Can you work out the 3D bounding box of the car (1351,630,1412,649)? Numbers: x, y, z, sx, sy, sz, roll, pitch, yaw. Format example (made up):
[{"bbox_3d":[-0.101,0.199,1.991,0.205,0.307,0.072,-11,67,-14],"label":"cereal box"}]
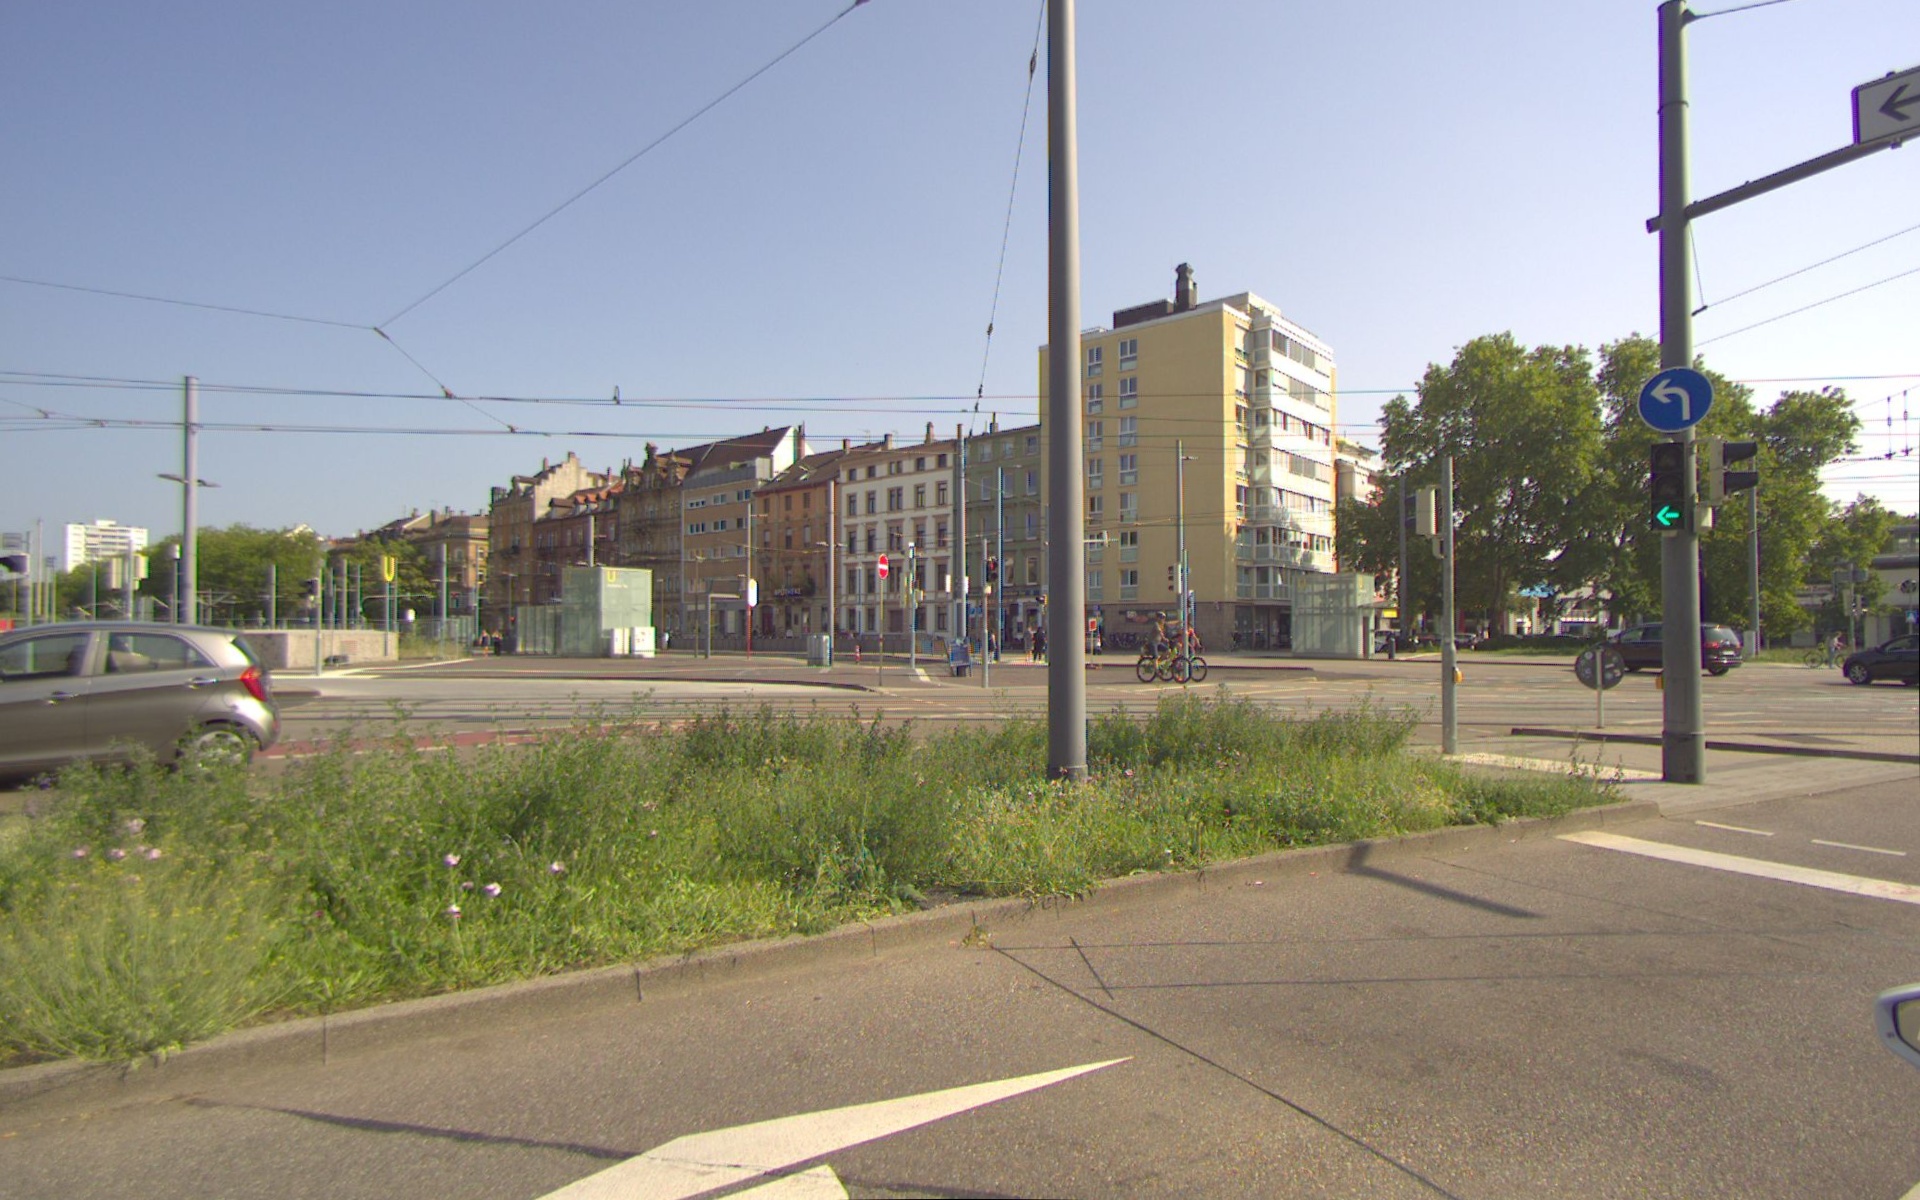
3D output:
[{"bbox_3d":[32.428,3.046,77.289,4.106,1.372,1.571,-1,-2,39],"label":"car"}]

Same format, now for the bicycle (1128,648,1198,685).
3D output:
[{"bbox_3d":[5.547,1.805,27.485,0.721,0.944,1.795,1,-2,-43],"label":"bicycle"}]

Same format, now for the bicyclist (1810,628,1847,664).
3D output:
[{"bbox_3d":[37.874,2.011,43.819,1.150,1.547,0.955,-2,-2,44],"label":"bicyclist"}]

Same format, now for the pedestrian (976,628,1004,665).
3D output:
[{"bbox_3d":[1.412,2.169,46.905,0.911,1.712,0.918,0,-1,40],"label":"pedestrian"}]

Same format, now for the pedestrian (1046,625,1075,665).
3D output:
[{"bbox_3d":[4.479,1.985,44.643,0.911,1.712,0.918,0,-1,40],"label":"pedestrian"}]

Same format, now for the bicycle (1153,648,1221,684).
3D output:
[{"bbox_3d":[6.393,1.851,28.384,0.721,0.944,1.795,1,-2,-43],"label":"bicycle"}]

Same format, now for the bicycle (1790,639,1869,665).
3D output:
[{"bbox_3d":[37.884,2.262,43.784,2.572,1.071,0.955,-2,-2,44],"label":"bicycle"}]

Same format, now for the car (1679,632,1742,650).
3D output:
[{"bbox_3d":[67.149,3.675,89.924,4.426,1.543,1.705,0,-1,-1],"label":"car"}]

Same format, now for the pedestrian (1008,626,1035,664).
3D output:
[{"bbox_3d":[2.859,2.092,46.727,0.911,1.712,0.918,0,-1,40],"label":"pedestrian"}]

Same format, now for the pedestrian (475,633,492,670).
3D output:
[{"bbox_3d":[-24.332,2.611,51.325,0.646,1.891,0.714,1,-2,-36],"label":"pedestrian"}]

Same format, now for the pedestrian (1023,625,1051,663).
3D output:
[{"bbox_3d":[3.496,1.998,45.837,0.911,1.712,0.918,0,-1,40],"label":"pedestrian"}]

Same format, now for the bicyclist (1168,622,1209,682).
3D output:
[{"bbox_3d":[6.439,1.450,28.349,0.721,1.674,0.873,1,-2,-44],"label":"bicyclist"}]

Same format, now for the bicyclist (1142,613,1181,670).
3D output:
[{"bbox_3d":[5.531,1.132,27.519,0.721,1.547,0.786,1,-2,-44],"label":"bicyclist"}]

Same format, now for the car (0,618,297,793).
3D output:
[{"bbox_3d":[-8.442,0.915,9.376,3.641,1.471,1.875,1,-2,-37],"label":"car"}]

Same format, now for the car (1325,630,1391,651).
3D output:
[{"bbox_3d":[28.105,2.850,70.977,4.106,1.372,1.571,-1,-2,39],"label":"car"}]

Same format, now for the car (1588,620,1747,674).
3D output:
[{"bbox_3d":[24.311,1.596,34.741,1.800,1.736,4.402,0,-2,-13],"label":"car"}]

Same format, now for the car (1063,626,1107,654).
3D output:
[{"bbox_3d":[7.798,2.497,63.108,1.961,1.701,4.548,1,-1,-3],"label":"car"}]

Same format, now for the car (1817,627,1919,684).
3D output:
[{"bbox_3d":[25.991,1.486,27.200,1.656,1.511,4.371,0,-2,-4],"label":"car"}]

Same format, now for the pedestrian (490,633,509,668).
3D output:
[{"bbox_3d":[-23.773,2.610,51.878,0.745,1.806,0.700,1,-2,-36],"label":"pedestrian"}]

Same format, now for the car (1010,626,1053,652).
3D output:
[{"bbox_3d":[4.681,2.552,66.504,1.963,1.701,4.545,1,-1,-7],"label":"car"}]
